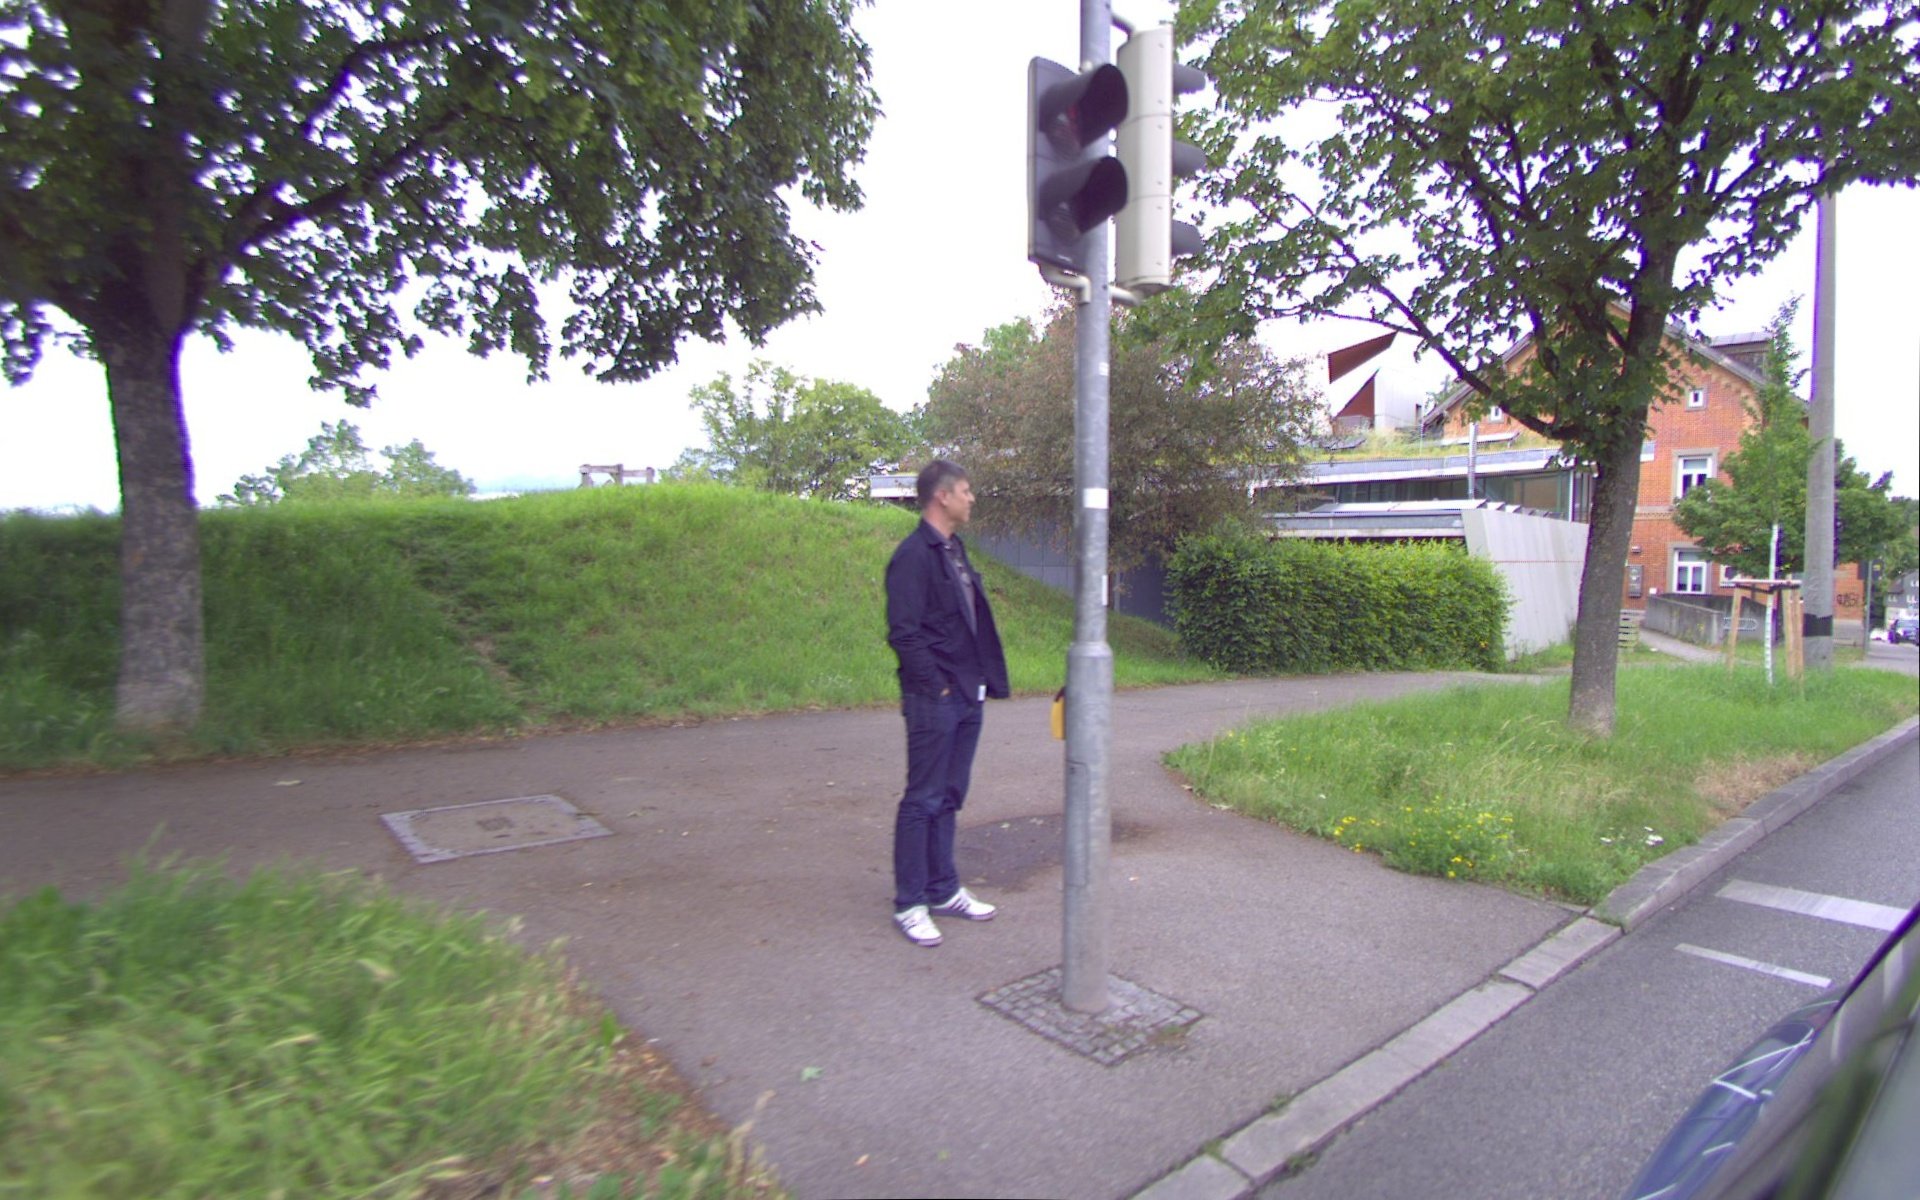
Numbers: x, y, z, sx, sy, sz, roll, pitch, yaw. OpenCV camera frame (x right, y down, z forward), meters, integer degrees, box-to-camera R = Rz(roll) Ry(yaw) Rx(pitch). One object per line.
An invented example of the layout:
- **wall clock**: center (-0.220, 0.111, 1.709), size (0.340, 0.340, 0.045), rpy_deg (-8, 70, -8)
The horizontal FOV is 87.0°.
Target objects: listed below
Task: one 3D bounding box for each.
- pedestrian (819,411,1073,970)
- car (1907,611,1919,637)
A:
- **pedestrian**: center (-0.052, 0.297, 3.861), size (0.642, 1.879, 0.662), rpy_deg (2, 1, 43)
- **car**: center (68.127, 1.715, 71.345), size (1.706, 1.710, 3.738), rpy_deg (2, 2, 40)
